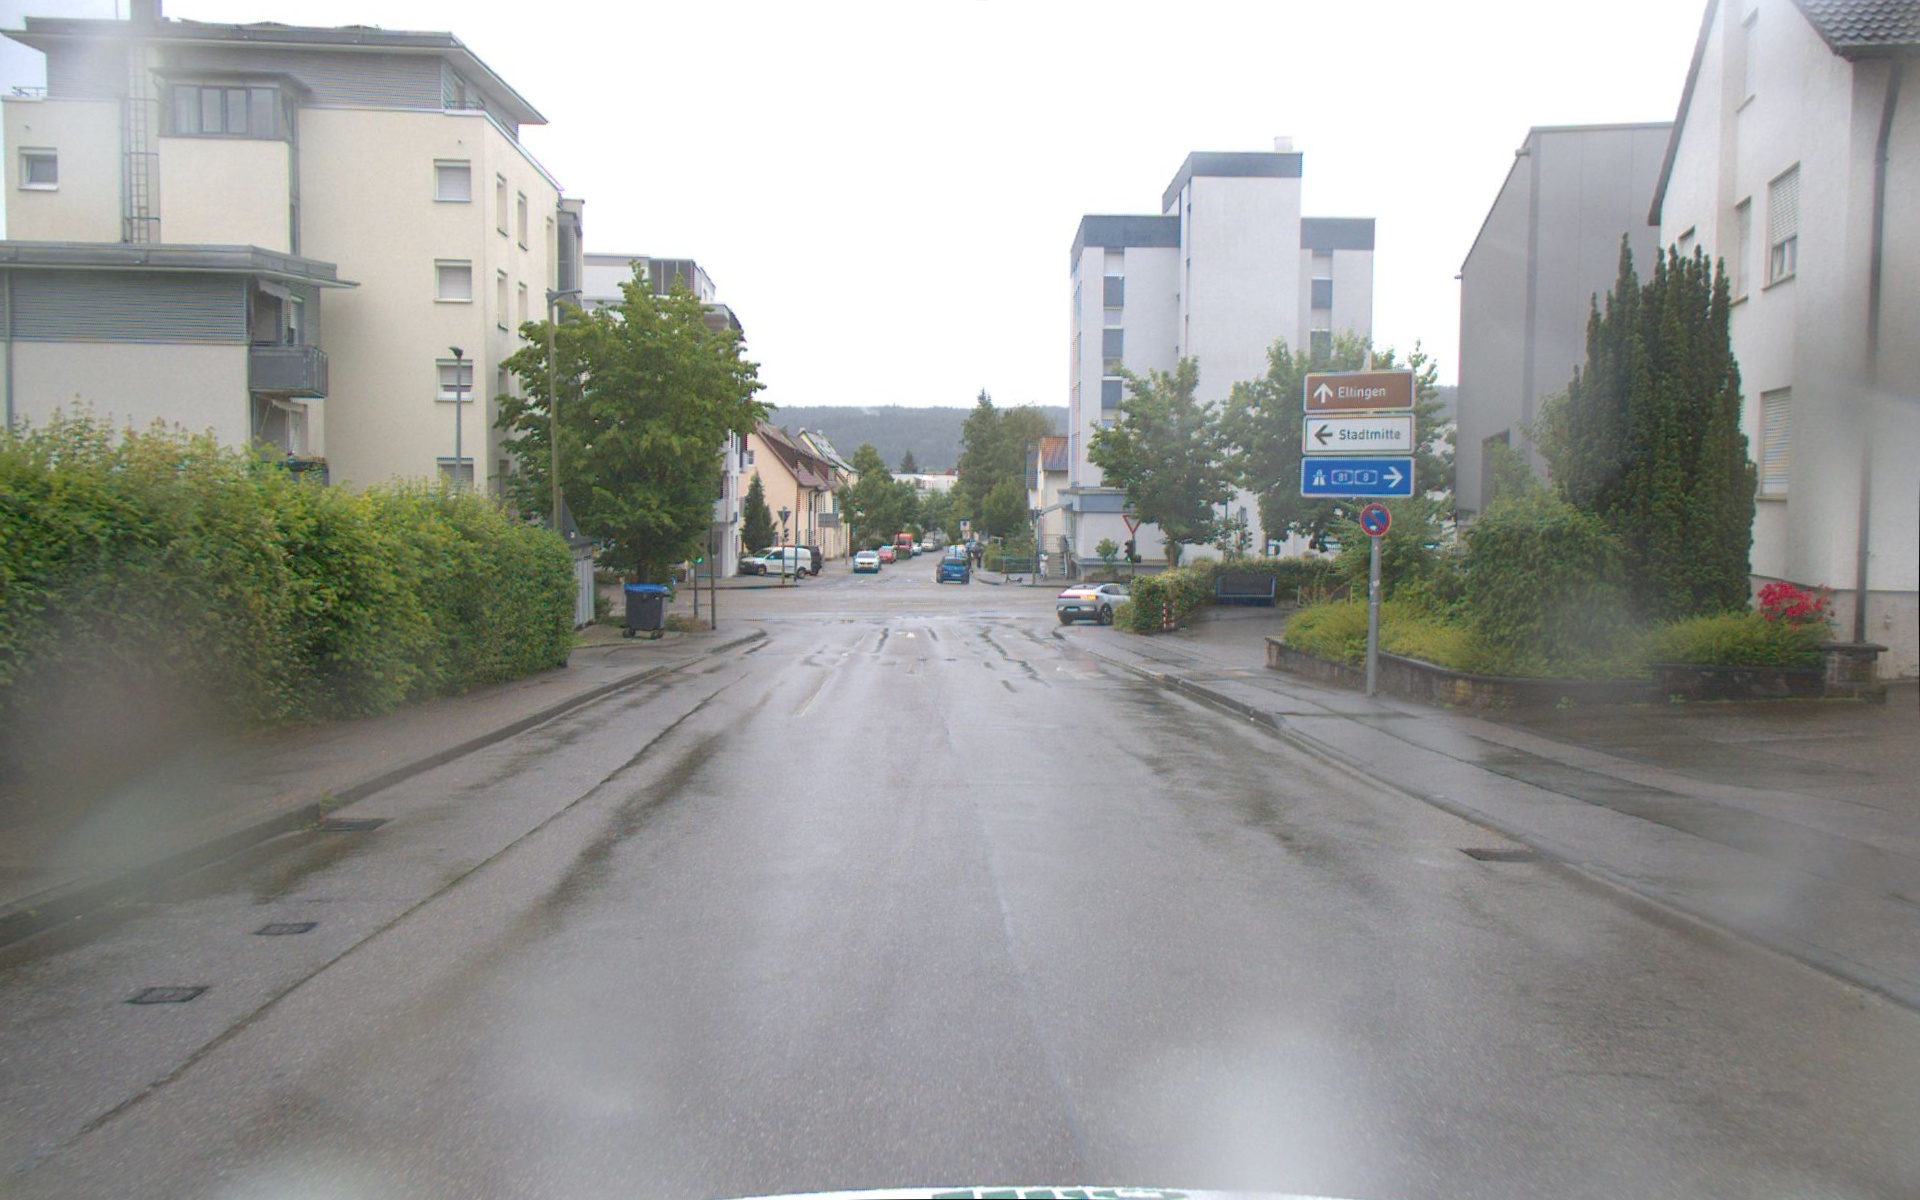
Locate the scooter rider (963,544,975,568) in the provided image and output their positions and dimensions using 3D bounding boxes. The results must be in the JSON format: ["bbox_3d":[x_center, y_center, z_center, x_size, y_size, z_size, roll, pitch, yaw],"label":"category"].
[{"bbox_3d":[0.683,-3.286,123.624,0.740,1.827,0.670,-1,2,-16],"label":"scooter rider"}]

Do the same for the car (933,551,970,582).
[{"bbox_3d":[-0.502,-1.935,95.952,1.954,1.713,3.998,-1,2,-3],"label":"car"}]

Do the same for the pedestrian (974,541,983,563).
[{"bbox_3d":[1.585,-4.065,139.646,0.730,1.881,0.526,-1,0,1],"label":"pedestrian"}]

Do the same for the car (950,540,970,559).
[{"bbox_3d":[0.009,-4.853,158.367,1.863,1.775,4.192,-1,2,-1],"label":"car"}]

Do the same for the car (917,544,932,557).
[{"bbox_3d":[-4.467,-6.245,209.256,1.863,1.586,4.192,-1,2,-1],"label":"car"}]

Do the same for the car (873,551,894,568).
[{"bbox_3d":[-7.349,-3.920,158.957,1.863,1.586,4.192,-1,2,-1],"label":"car"}]

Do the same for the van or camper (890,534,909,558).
[{"bbox_3d":[-6.588,-5.898,180.858,1.863,2.557,4.239,-1,2,-1],"label":"van or camper"}]

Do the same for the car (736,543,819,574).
[{"bbox_3d":[-11.263,-2.564,102.134,4.798,1.867,1.972,-2,2,-40],"label":"car"}]

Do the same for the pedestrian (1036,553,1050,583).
[{"bbox_3d":[4.751,-1.836,94.723,0.635,1.676,0.525,3,1,-8],"label":"pedestrian"}]

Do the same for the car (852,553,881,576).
[{"bbox_3d":[-6.894,-2.636,122.514,1.953,1.654,4.192,-1,2,-1],"label":"car"}]

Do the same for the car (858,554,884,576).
[{"bbox_3d":[-7.197,-2.841,133.911,1.953,1.654,4.192,-1,2,-1],"label":"car"}]

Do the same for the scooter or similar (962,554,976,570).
[{"bbox_3d":[0.705,-2.867,123.582,0.744,1.192,1.310,-1,2,-14],"label":"scooter or similar"}]

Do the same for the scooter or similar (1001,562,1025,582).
[{"bbox_3d":[3.017,-1.569,93.435,1.243,1.100,0.875,-1,2,-6],"label":"scooter or similar"}]

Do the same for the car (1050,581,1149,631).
[{"bbox_3d":[5.400,0.195,63.651,1.961,1.713,3.983,1,2,38],"label":"car"}]

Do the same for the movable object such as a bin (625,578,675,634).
[{"bbox_3d":[-7.886,0.145,42.190,1.050,1.371,1.318,2,0,-4],"label":"movable object such as a bin"}]
